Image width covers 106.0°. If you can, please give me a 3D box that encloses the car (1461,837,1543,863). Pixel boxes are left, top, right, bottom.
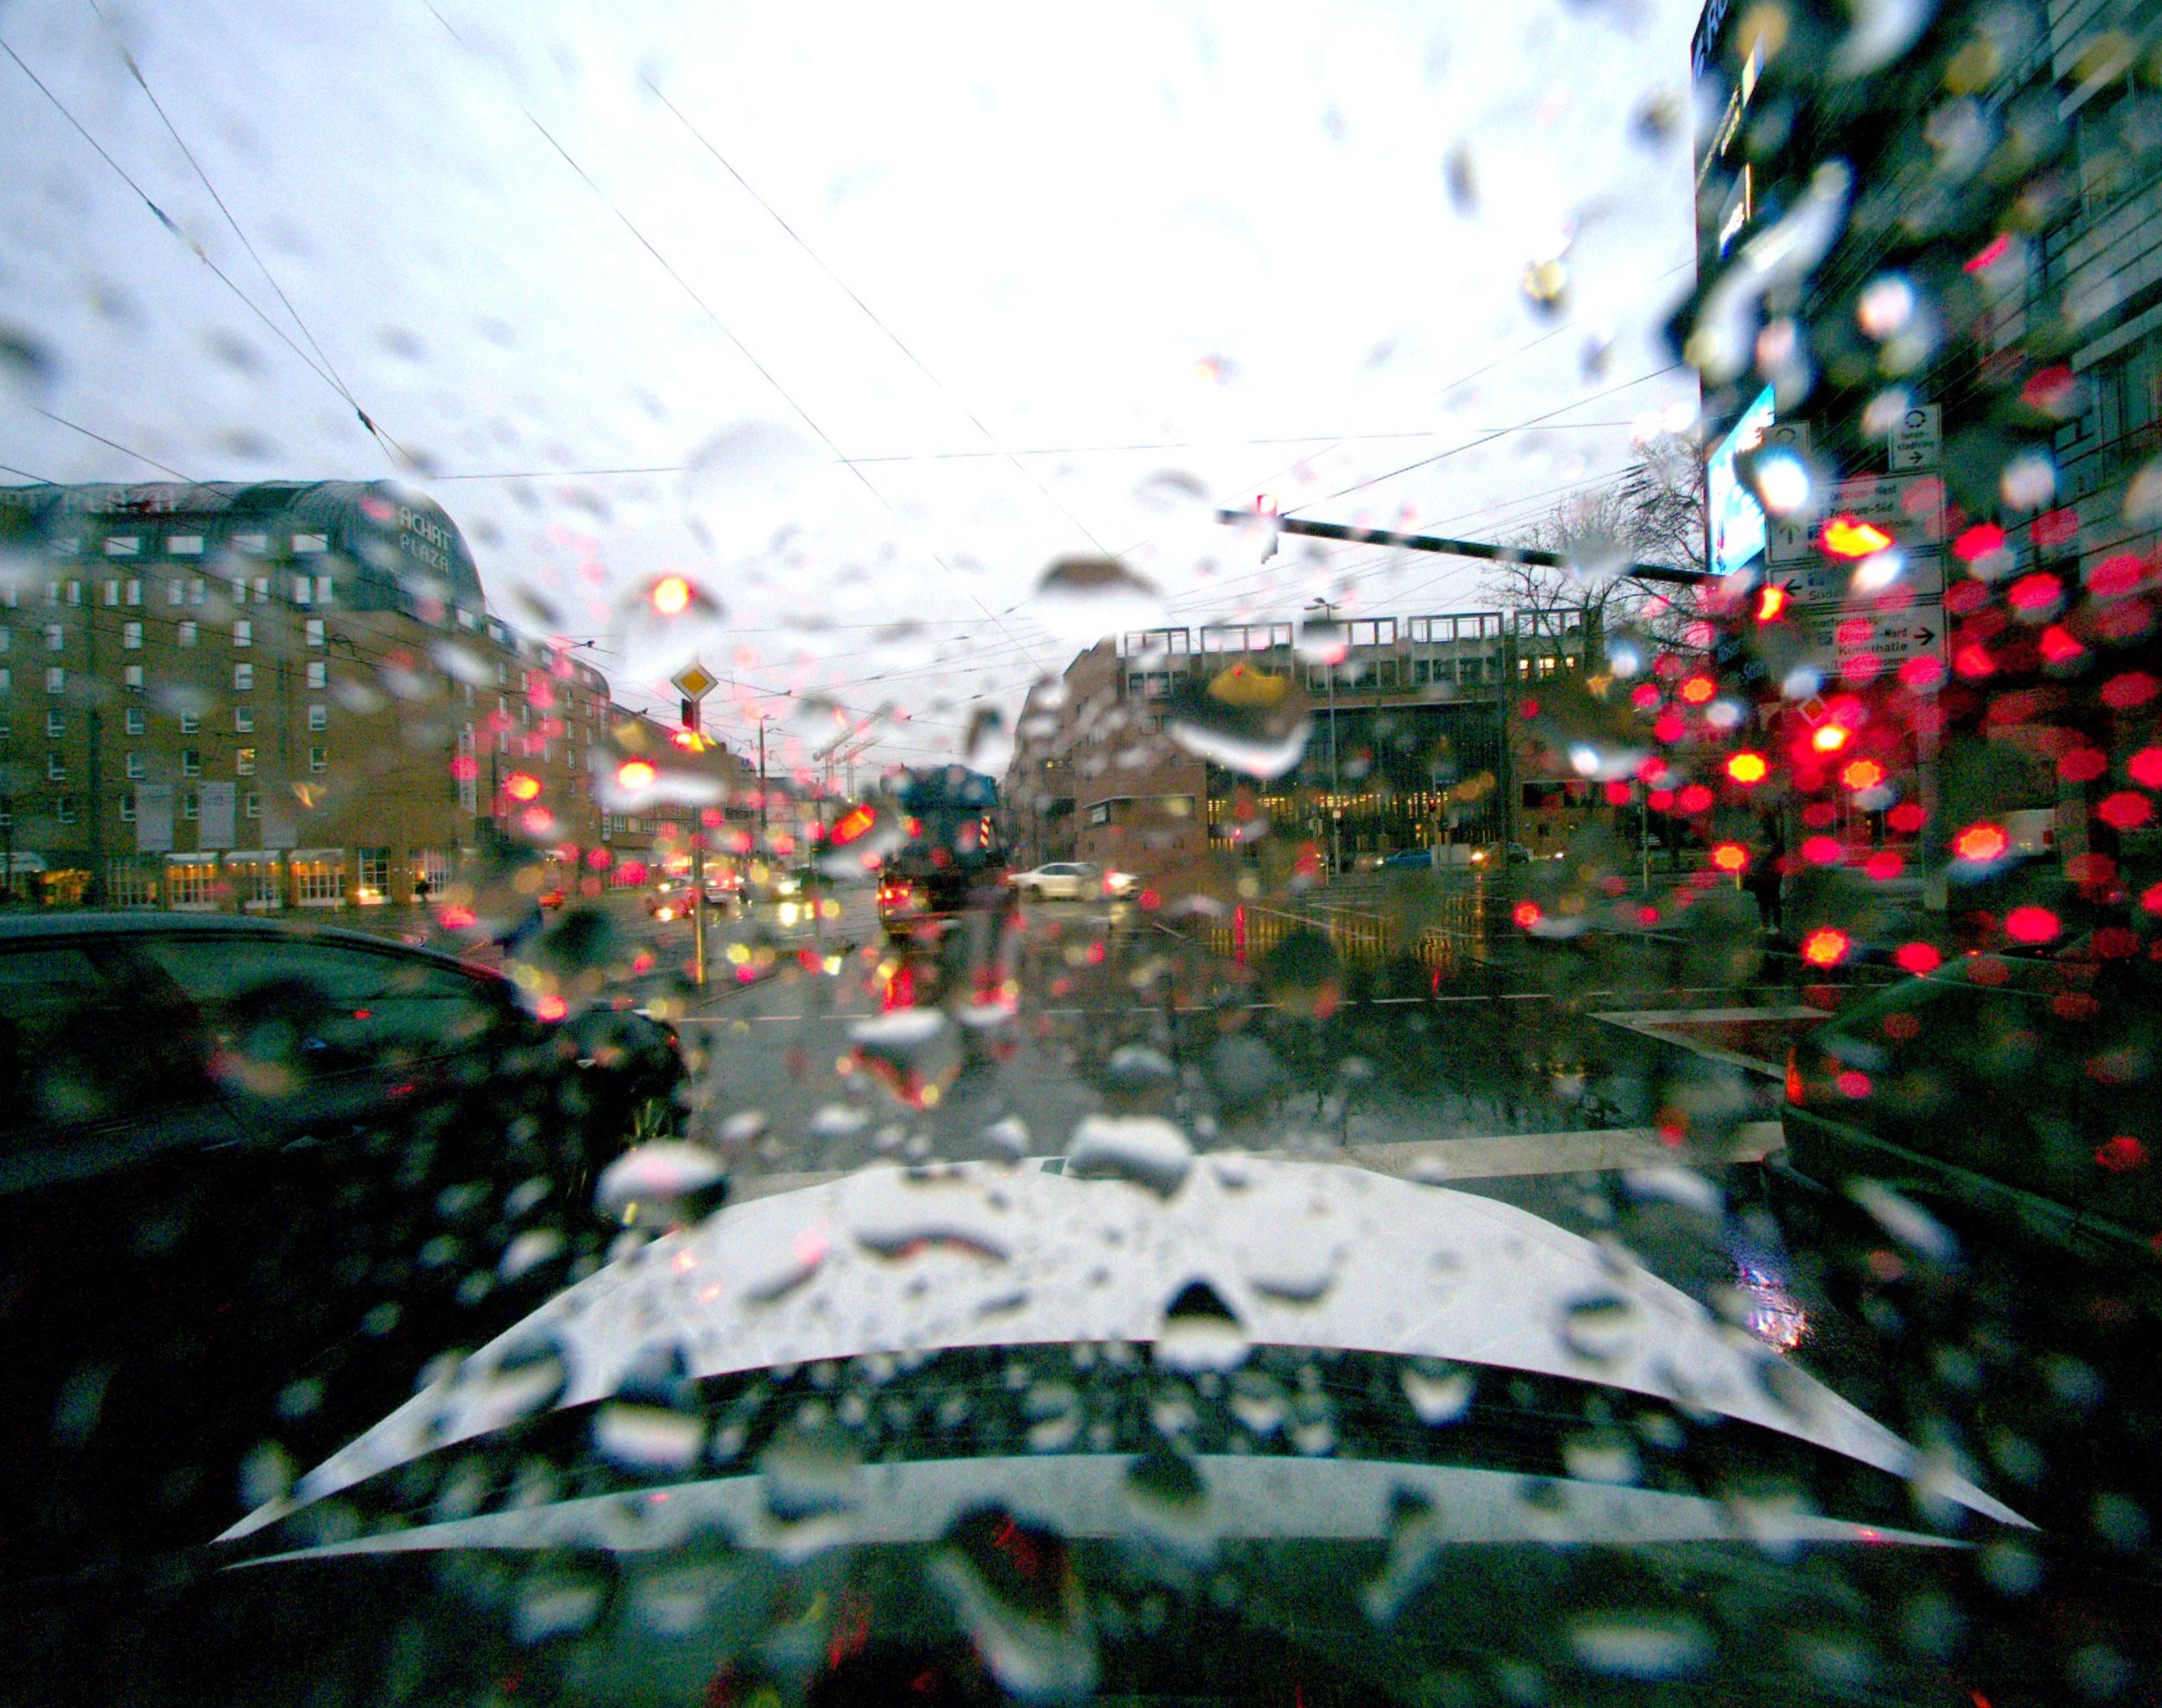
[{"bbox_3d":[24.819,-0.249,48.080,3.979,1.288,1.845,-2,4,-4],"label":"car"}]

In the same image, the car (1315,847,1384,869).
[{"bbox_3d":[18.246,0.298,55.447,3.977,1.310,1.998,-2,0,-2],"label":"car"}]

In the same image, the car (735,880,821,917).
[{"bbox_3d":[-14.959,2.142,40.062,2.266,1.607,4.943,-2,0,-42],"label":"car"}]

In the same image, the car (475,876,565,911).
[{"bbox_3d":[-26.063,1.815,37.837,3.711,1.459,1.713,-2,0,23],"label":"car"}]

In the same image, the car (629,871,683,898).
[{"bbox_3d":[-26.874,1.934,51.443,2.011,1.552,4.027,-2,0,-43],"label":"car"}]

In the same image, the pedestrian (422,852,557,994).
[{"bbox_3d":[-7.157,0.803,9.885,0.707,1.601,1.042,-4,-1,23],"label":"pedestrian"}]

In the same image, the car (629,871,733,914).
[{"bbox_3d":[-15.127,1.451,30.727,3.948,1.447,1.722,-3,0,34],"label":"car"}]

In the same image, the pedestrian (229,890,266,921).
[{"bbox_3d":[-48.016,2.979,46.914,1.164,1.678,0.893,-2,-1,-17],"label":"pedestrian"}]

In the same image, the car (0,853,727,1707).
[{"bbox_3d":[-2.719,0.821,2.178,1.623,1.523,3.944,-2,1,2],"label":"car"}]

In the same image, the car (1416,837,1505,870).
[{"bbox_3d":[20.432,-0.051,43.895,3.979,1.504,1.845,-2,4,-4],"label":"car"}]

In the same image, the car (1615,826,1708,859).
[{"bbox_3d":[32.246,-0.648,45.331,3.979,1.600,1.845,-2,4,-4],"label":"car"}]

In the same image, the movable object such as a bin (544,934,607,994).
[{"bbox_3d":[-6.514,1.412,10.495,0.407,0.699,0.541,-5,-2,32],"label":"movable object such as a bin"}]

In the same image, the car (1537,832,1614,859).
[{"bbox_3d":[32.159,-0.572,53.075,3.979,1.504,1.845,-2,4,-4],"label":"car"}]

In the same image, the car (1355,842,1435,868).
[{"bbox_3d":[18.312,0.021,47.528,3.979,1.263,1.845,-2,4,-4],"label":"car"}]

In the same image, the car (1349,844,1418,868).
[{"bbox_3d":[19.144,0.127,51.596,3.713,1.263,1.845,-2,4,-4],"label":"car"}]

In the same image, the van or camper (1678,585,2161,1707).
[{"bbox_3d":[2.668,0.492,0.303,1.750,1.906,4.420,-1,0,2],"label":"van or camper"}]

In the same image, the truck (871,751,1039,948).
[{"bbox_3d":[-3.272,-0.083,19.057,2.845,3.633,7.484,-2,0,-16],"label":"truck"}]

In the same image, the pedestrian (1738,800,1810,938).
[{"bbox_3d":[11.306,0.244,13.306,0.574,2.184,0.619,-1,-1,-4],"label":"pedestrian"}]

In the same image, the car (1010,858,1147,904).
[{"bbox_3d":[-0.106,1.035,31.096,4.773,1.561,2.063,-2,0,26],"label":"car"}]
